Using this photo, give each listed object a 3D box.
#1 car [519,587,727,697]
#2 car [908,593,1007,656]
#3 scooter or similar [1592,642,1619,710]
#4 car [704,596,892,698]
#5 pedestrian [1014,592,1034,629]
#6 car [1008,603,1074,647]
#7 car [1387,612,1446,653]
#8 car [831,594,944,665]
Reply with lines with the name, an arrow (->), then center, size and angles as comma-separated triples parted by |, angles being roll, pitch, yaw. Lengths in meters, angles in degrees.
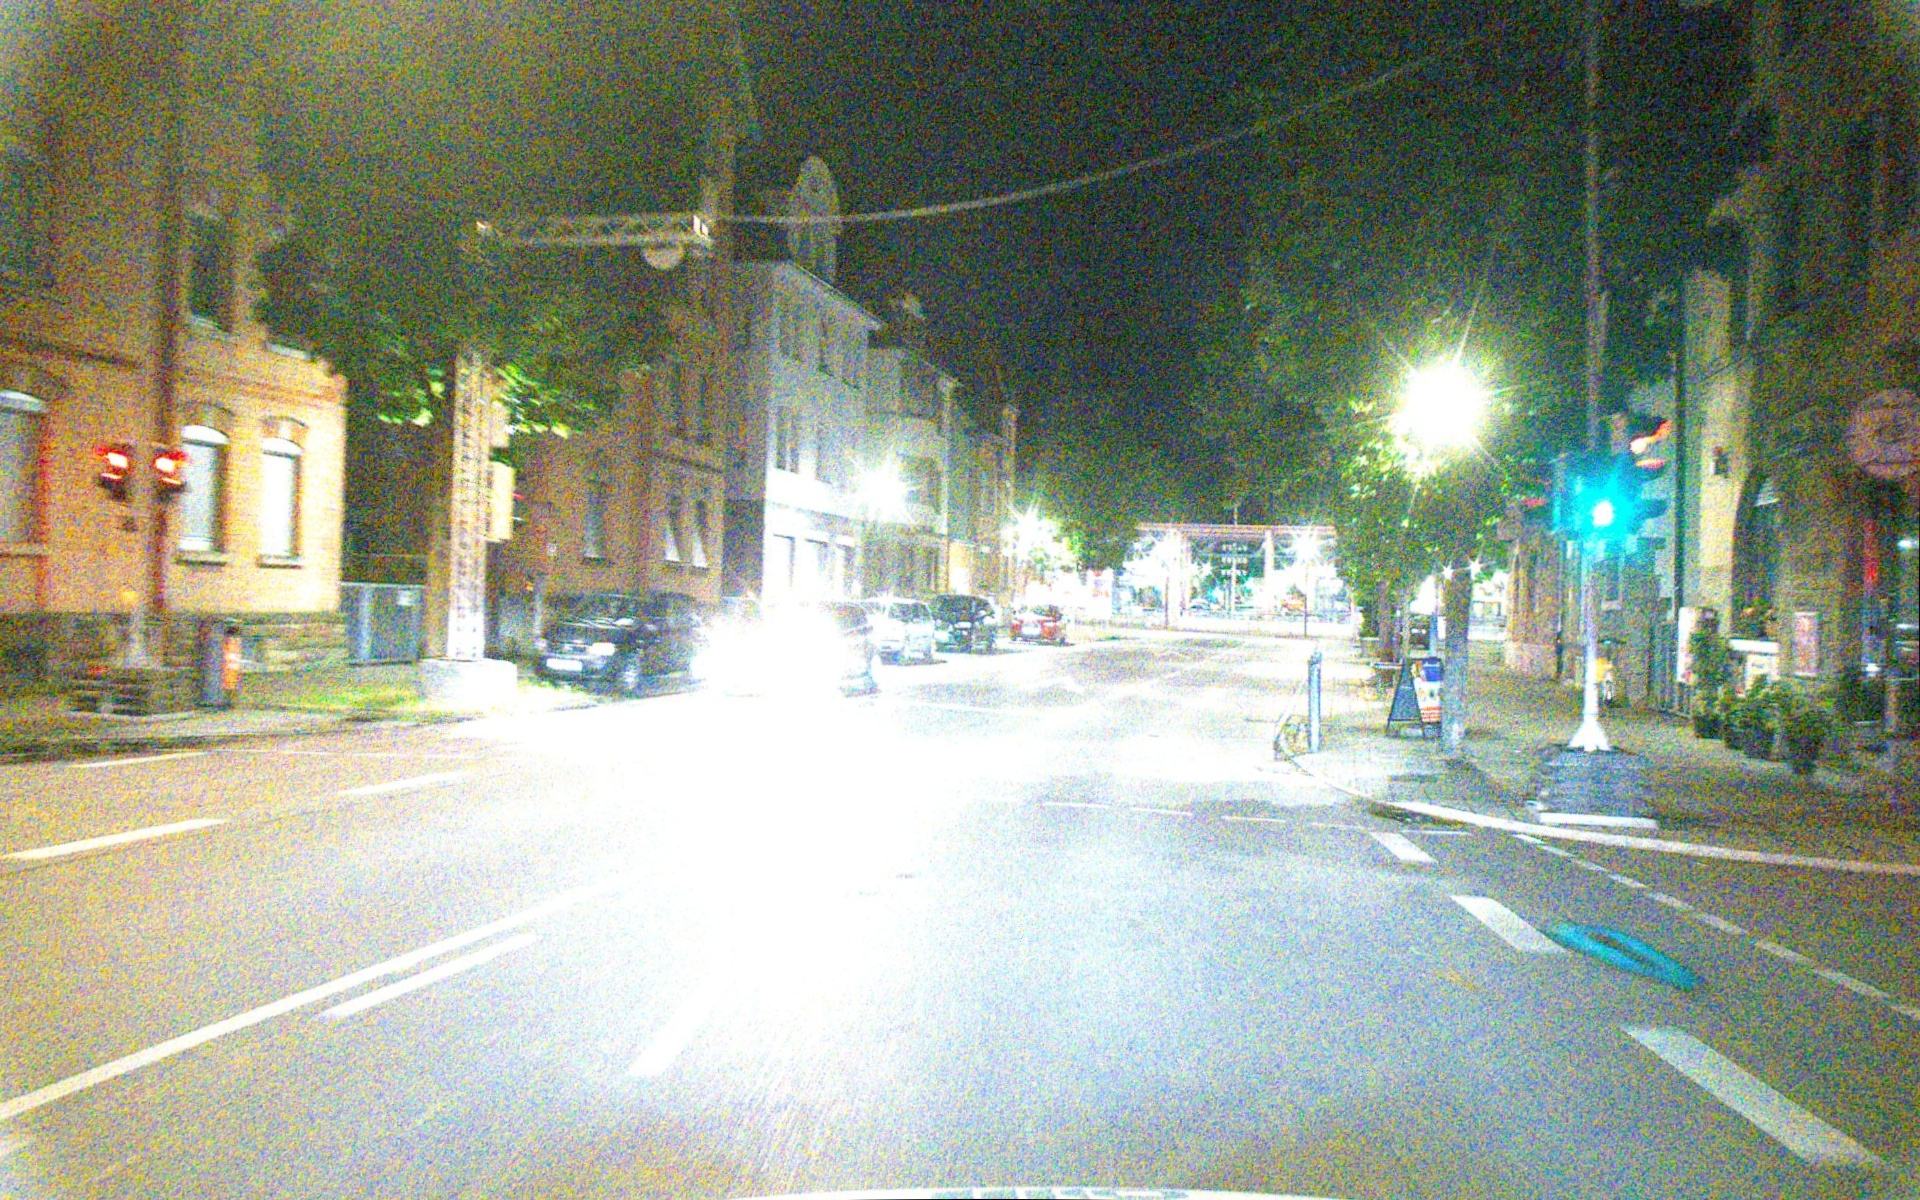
car -> -5.262, 0.606, 26.312 | 1.559, 1.517, 3.701 | 4, 2, 17
car -> -0.019, 0.691, 48.481 | 1.747, 1.609, 4.414 | 4, 1, 14
scooter or similar -> 11.420, 1.328, 29.270 | 0.413, 1.150, 1.493 | 1, 0, 21
car -> -2.414, 0.678, 25.686 | 1.678, 1.454, 4.003 | 0, 0, 14
pedestrian -> 3.333, 0.532, 86.247 | 0.717, 1.853, 0.684 | 4, -1, -33
car -> 3.016, 0.894, 60.741 | 1.747, 1.440, 4.130 | 3, 1, 12
car -> 18.122, 1.269, 65.792 | 1.697, 1.485, 4.731 | 2, 0, 9
car -> -1.718, 0.692, 40.504 | 1.747, 1.517, 4.003 | 4, 1, 12
